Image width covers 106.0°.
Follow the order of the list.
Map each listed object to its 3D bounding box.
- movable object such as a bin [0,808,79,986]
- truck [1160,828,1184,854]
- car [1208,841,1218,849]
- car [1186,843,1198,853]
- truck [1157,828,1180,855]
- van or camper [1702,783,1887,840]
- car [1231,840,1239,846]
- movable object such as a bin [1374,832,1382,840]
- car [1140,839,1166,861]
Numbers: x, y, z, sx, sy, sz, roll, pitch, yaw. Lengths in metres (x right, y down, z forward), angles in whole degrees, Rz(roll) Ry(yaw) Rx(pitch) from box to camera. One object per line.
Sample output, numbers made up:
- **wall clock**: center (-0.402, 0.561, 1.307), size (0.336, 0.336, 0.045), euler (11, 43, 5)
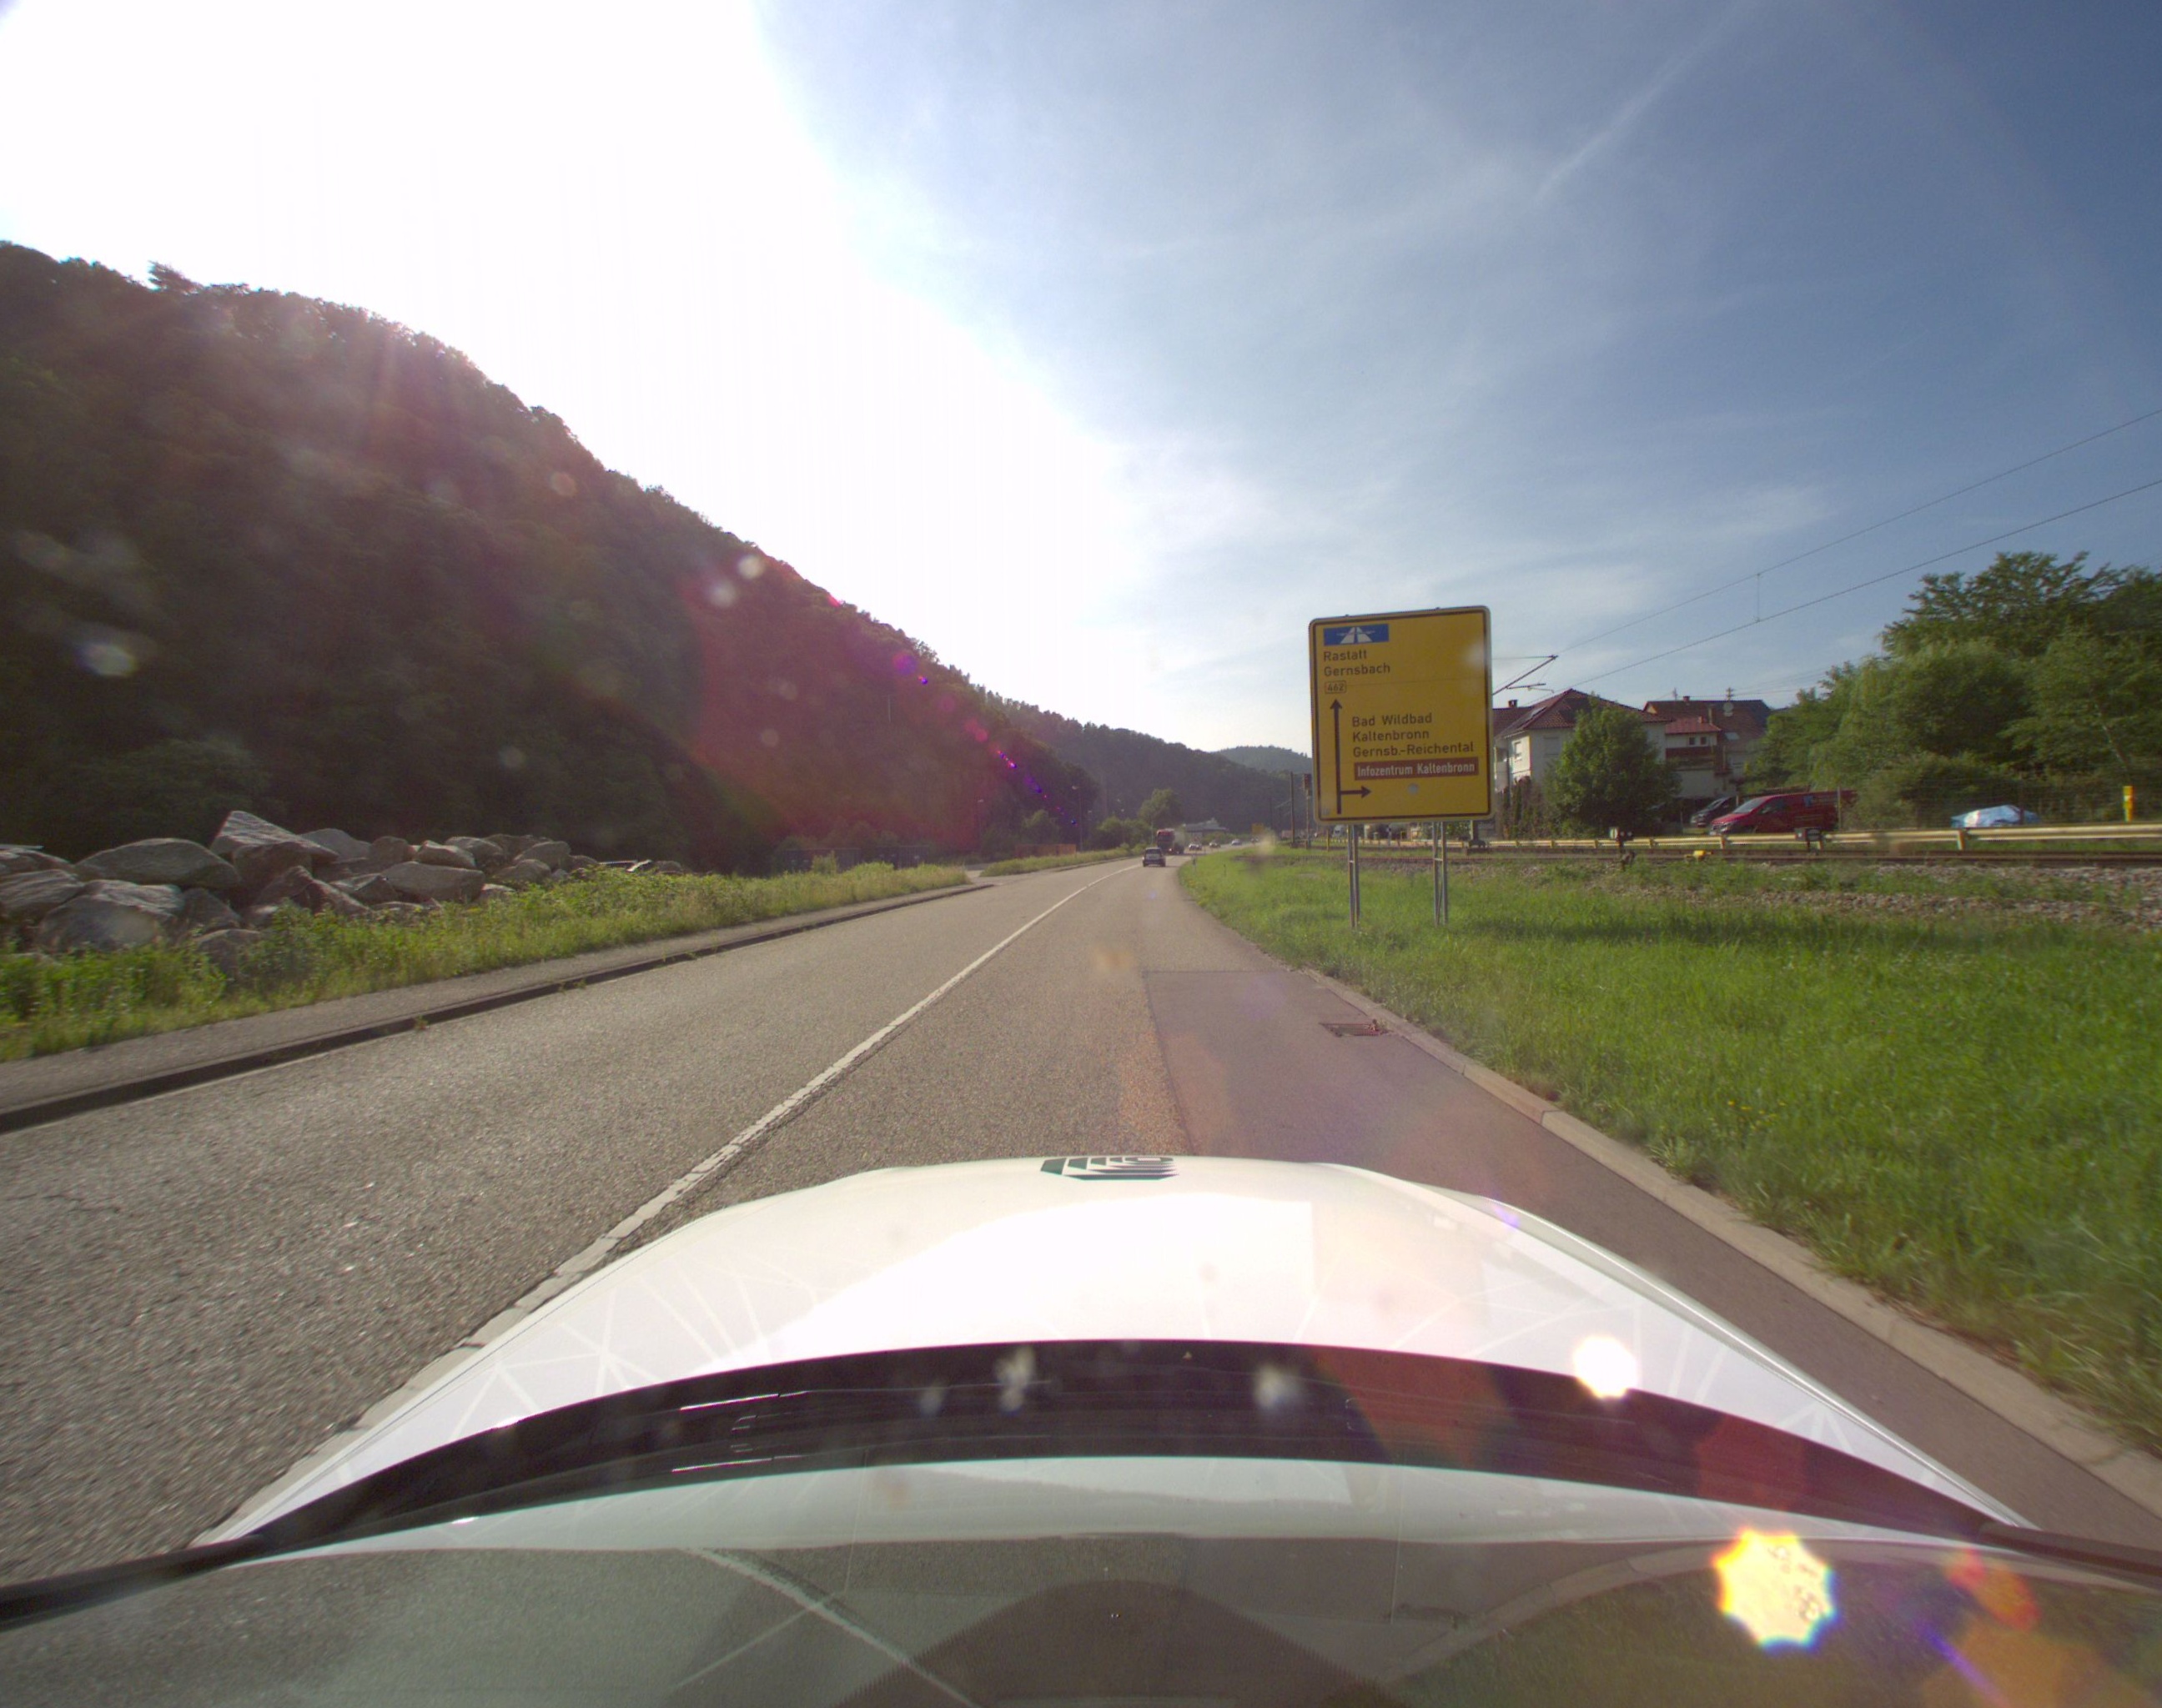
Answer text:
- **movable object such as a bin**: center (-25.328, 1.032, 15.465), size (2.891, 3.947, 7.800), euler (-4, 0, -3)
- **truck**: center (14.560, -2.059, 129.141), size (2.732, 3.835, 14.606), euler (-1, 1, 11)
- **car**: center (27.824, -1.837, 171.762), size (1.712, 1.624, 3.810), euler (0, 1, 13)
- **car**: center (20.828, -1.139, 152.579), size (1.981, 1.758, 4.482), euler (0, 1, 10)
- **truck**: center (13.188, -1.901, 122.134), size (2.732, 3.835, 8.223), euler (-1, 1, 11)
- **van or camper**: center (29.435, -1.705, 33.786), size (5.383, 1.929, 2.127), euler (-4, 0, 10)
- **car**: center (37.282, -2.709, 197.305), size (1.766, 1.348, 4.526), euler (1, 1, 12)
- **movable object such as a bin**: center (38.140, -2.321, 104.554), size (0.802, 1.050, 0.915), euler (0, 2, 14)
- **car**: center (6.300, -0.335, 70.844), size (1.983, 1.723, 3.998), euler (-4, 0, 7)
